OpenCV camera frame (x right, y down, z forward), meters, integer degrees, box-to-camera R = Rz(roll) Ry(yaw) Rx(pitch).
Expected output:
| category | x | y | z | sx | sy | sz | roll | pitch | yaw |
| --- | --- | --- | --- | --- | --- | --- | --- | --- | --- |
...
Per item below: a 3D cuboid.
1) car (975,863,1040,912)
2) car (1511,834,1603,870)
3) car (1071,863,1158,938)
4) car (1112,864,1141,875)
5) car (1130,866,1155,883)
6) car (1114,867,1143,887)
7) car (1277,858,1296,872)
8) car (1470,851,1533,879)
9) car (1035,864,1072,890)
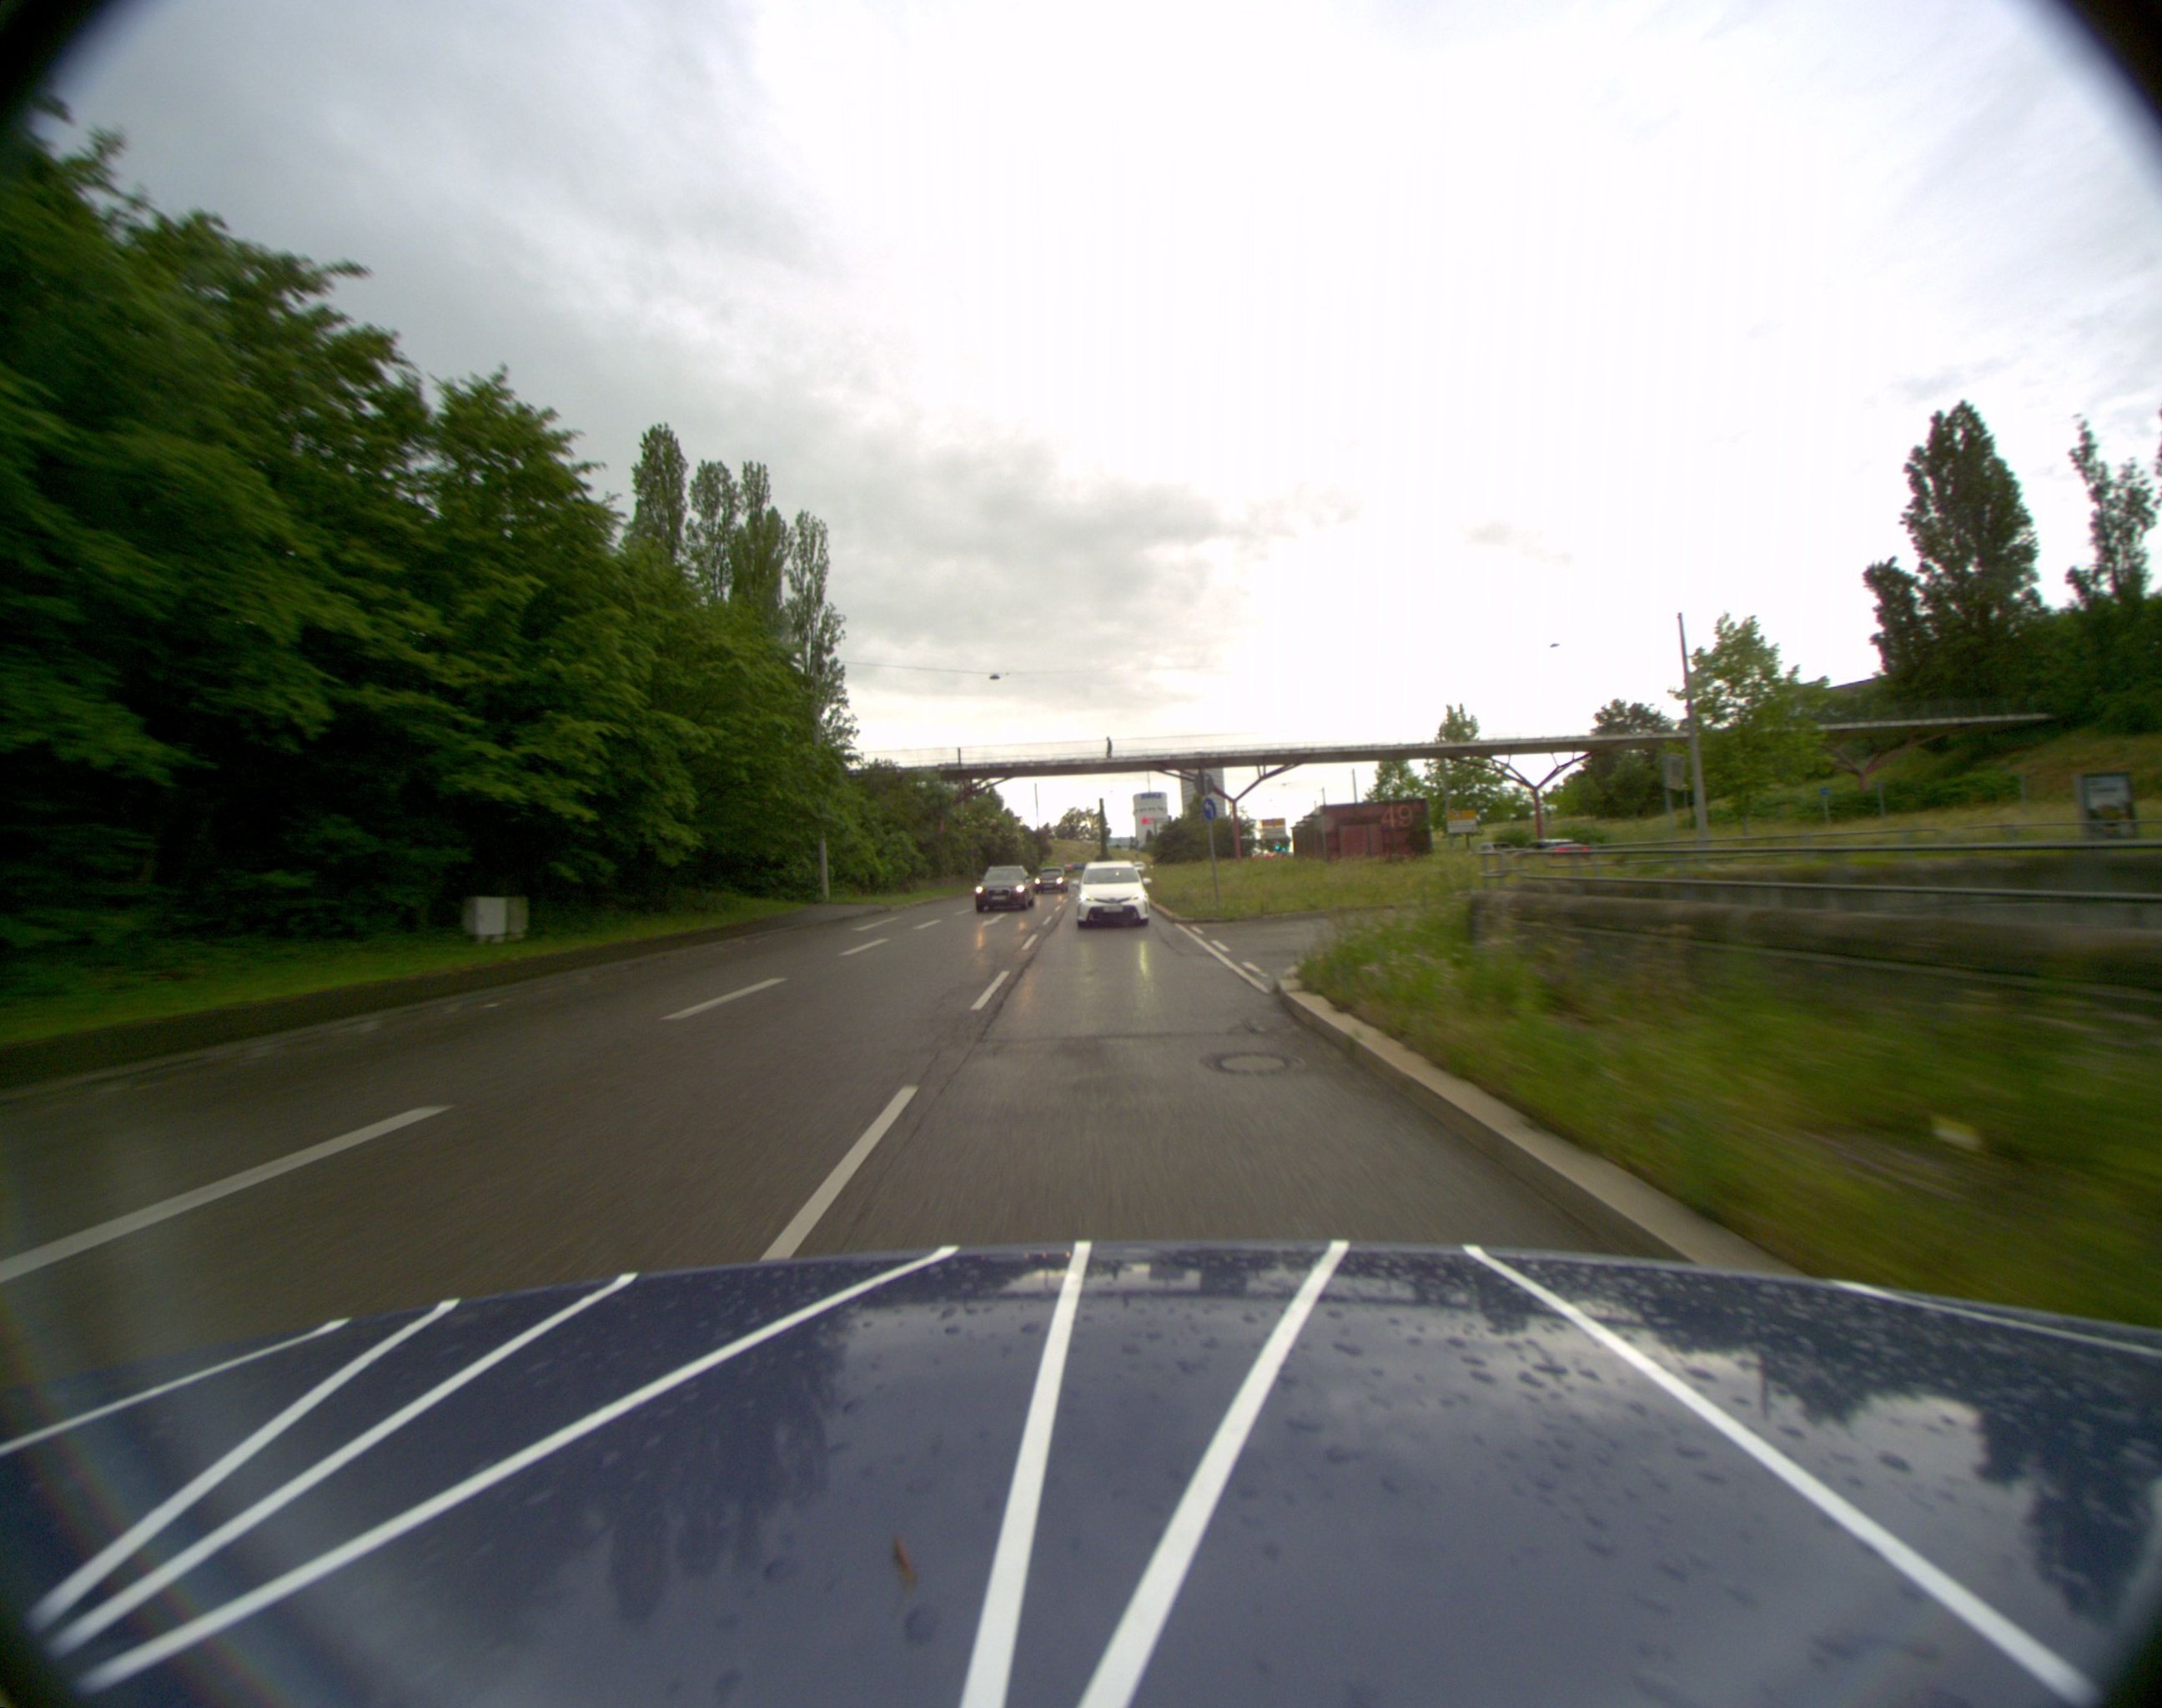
| category | x | y | z | sx | sy | sz | roll | pitch | yaw |
| --- | --- | --- | --- | --- | --- | --- | --- | --- | --- |
| car | -2.632 | 1.181 | 28.221 | 1.927 | 1.591 | 4.279 | -3 | 0 | 0 |
| car | 22.680 | -0.039 | 36.439 | 1.660 | 1.518 | 4.436 | -4 | -1 | 2 |
| car | 0.948 | 1.120 | 19.880 | 1.924 | 1.603 | 4.377 | -4 | -1 | 5 |
| car | 8.357 | 2.869 | 139.385 | 4.998 | 1.635 | 2.070 | -3 | -1 | -35 |
| car | 7.186 | 2.329 | 88.038 | 1.996 | 1.761 | 4.005 | -3 | 0 | 16 |
| car | 4.882 | 2.338 | 77.460 | 1.996 | 1.761 | 4.005 | -4 | 0 | 16 |
| car | 32.606 | 1.696 | 120.481 | 1.998 | 2.001 | 4.001 | -6 | 0 | 4 |
| car | 26.564 | 0.674 | 48.157 | 1.661 | 1.564 | 3.791 | -6 | 0 | -2 |
| car | -1.581 | 1.326 | 44.800 | 1.845 | 1.377 | 4.001 | -3 | -1 | 2 |
